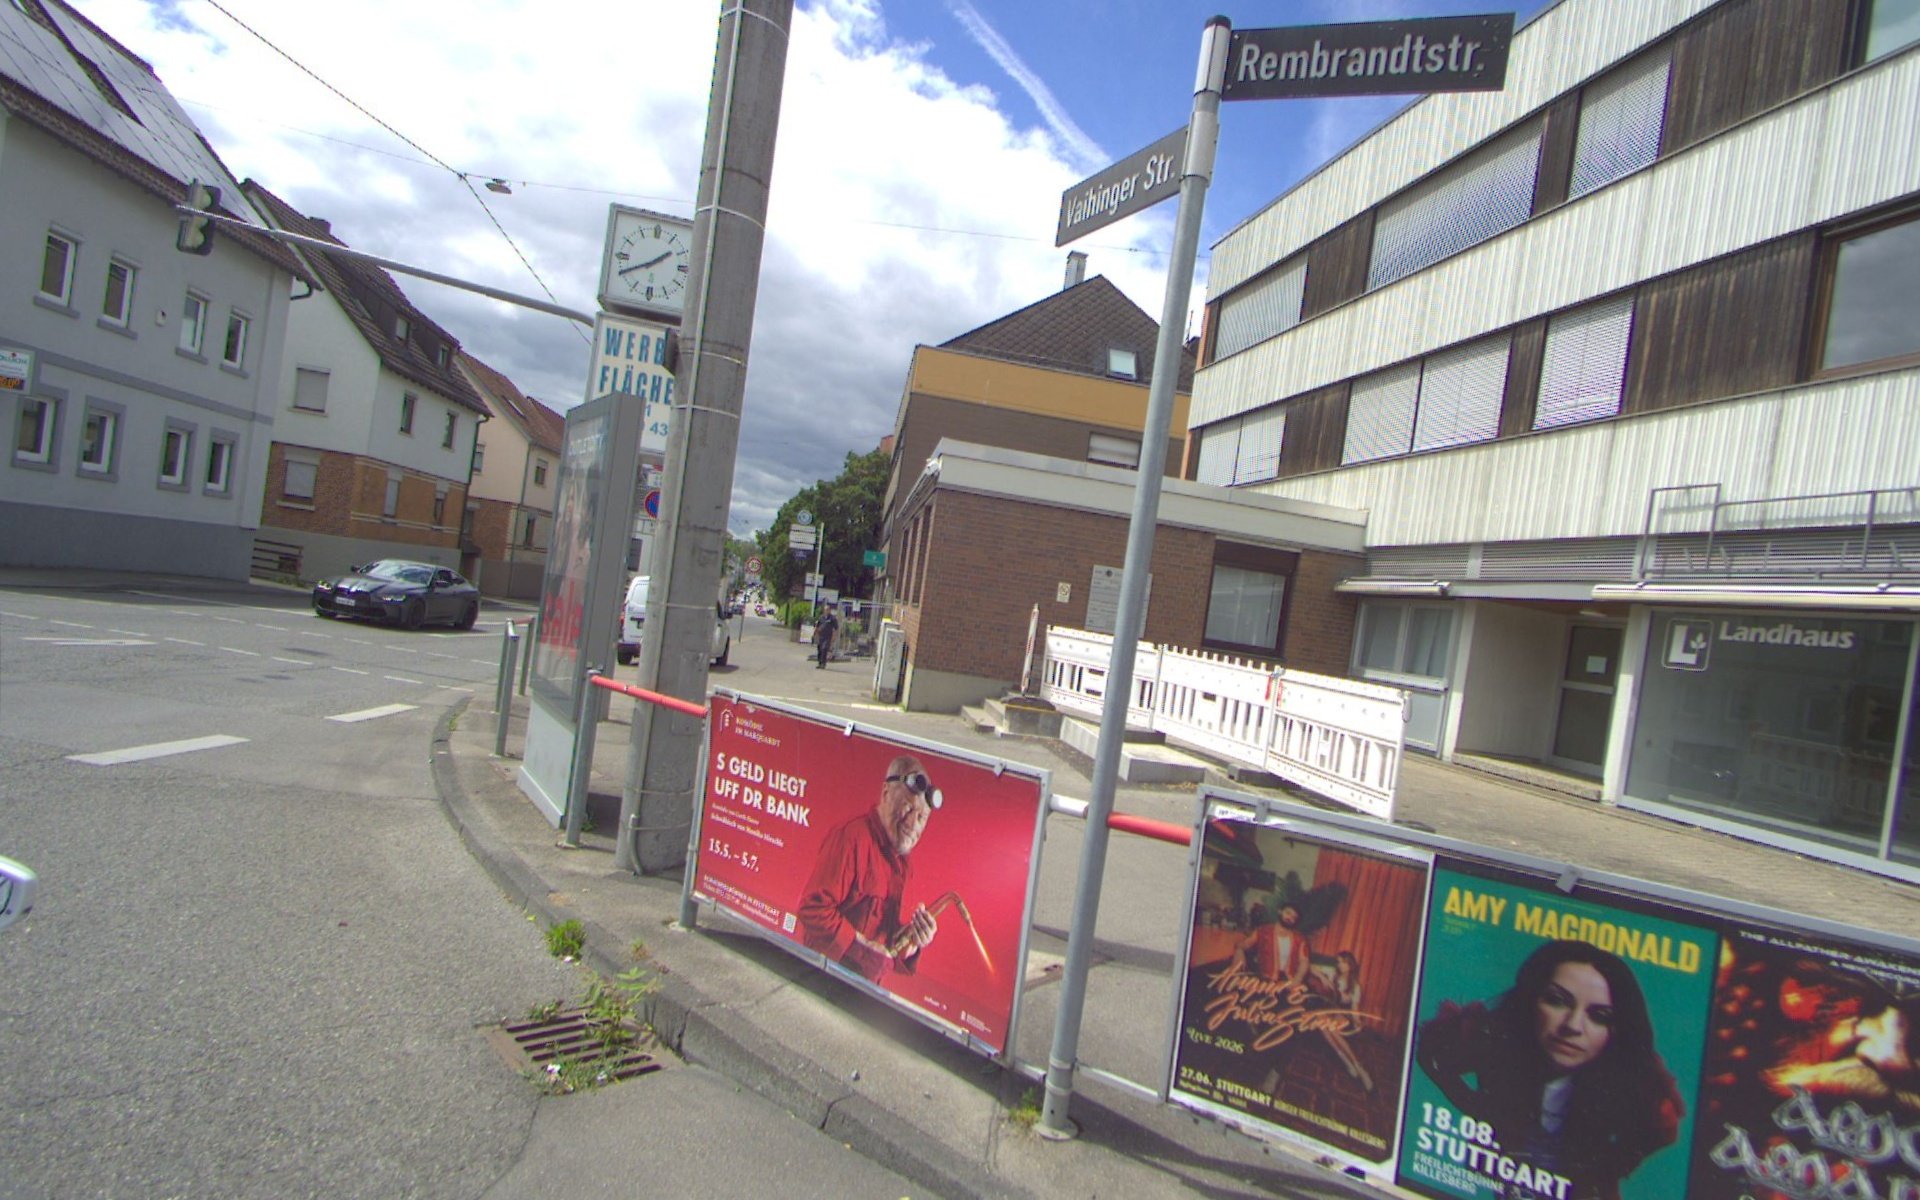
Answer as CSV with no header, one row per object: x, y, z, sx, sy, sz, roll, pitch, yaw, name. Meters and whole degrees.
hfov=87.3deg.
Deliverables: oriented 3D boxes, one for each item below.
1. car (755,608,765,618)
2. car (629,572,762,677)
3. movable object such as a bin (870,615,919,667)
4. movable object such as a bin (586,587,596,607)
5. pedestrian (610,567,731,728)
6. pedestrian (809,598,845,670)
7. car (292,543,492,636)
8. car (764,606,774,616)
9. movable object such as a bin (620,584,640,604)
-45.772,3.035,230.313,1.967,2.036,3.995,8,-2,-11,car
-5.588,0.521,21.853,1.884,1.815,4.488,8,-1,-5,car
-2.232,1.372,34.205,1.461,1.511,1.075,8,1,-4,movable object such as a bin
-22.760,-0.191,62.028,0.425,1.141,0.299,7,0,-8,movable object such as a bin
-3.230,0.519,11.280,0.857,1.659,0.836,5,1,20,pedestrian
-3.500,0.900,26.549,0.830,1.826,0.650,3,0,-7,pedestrian
-12.097,-0.173,21.850,1.967,1.473,4.614,10,-2,-7,car
-46.650,2.651,245.610,1.967,2.036,3.995,8,-2,-11,car
-25.574,-0.445,77.939,1.265,1.325,0.814,8,-1,-12,movable object such as a bin
